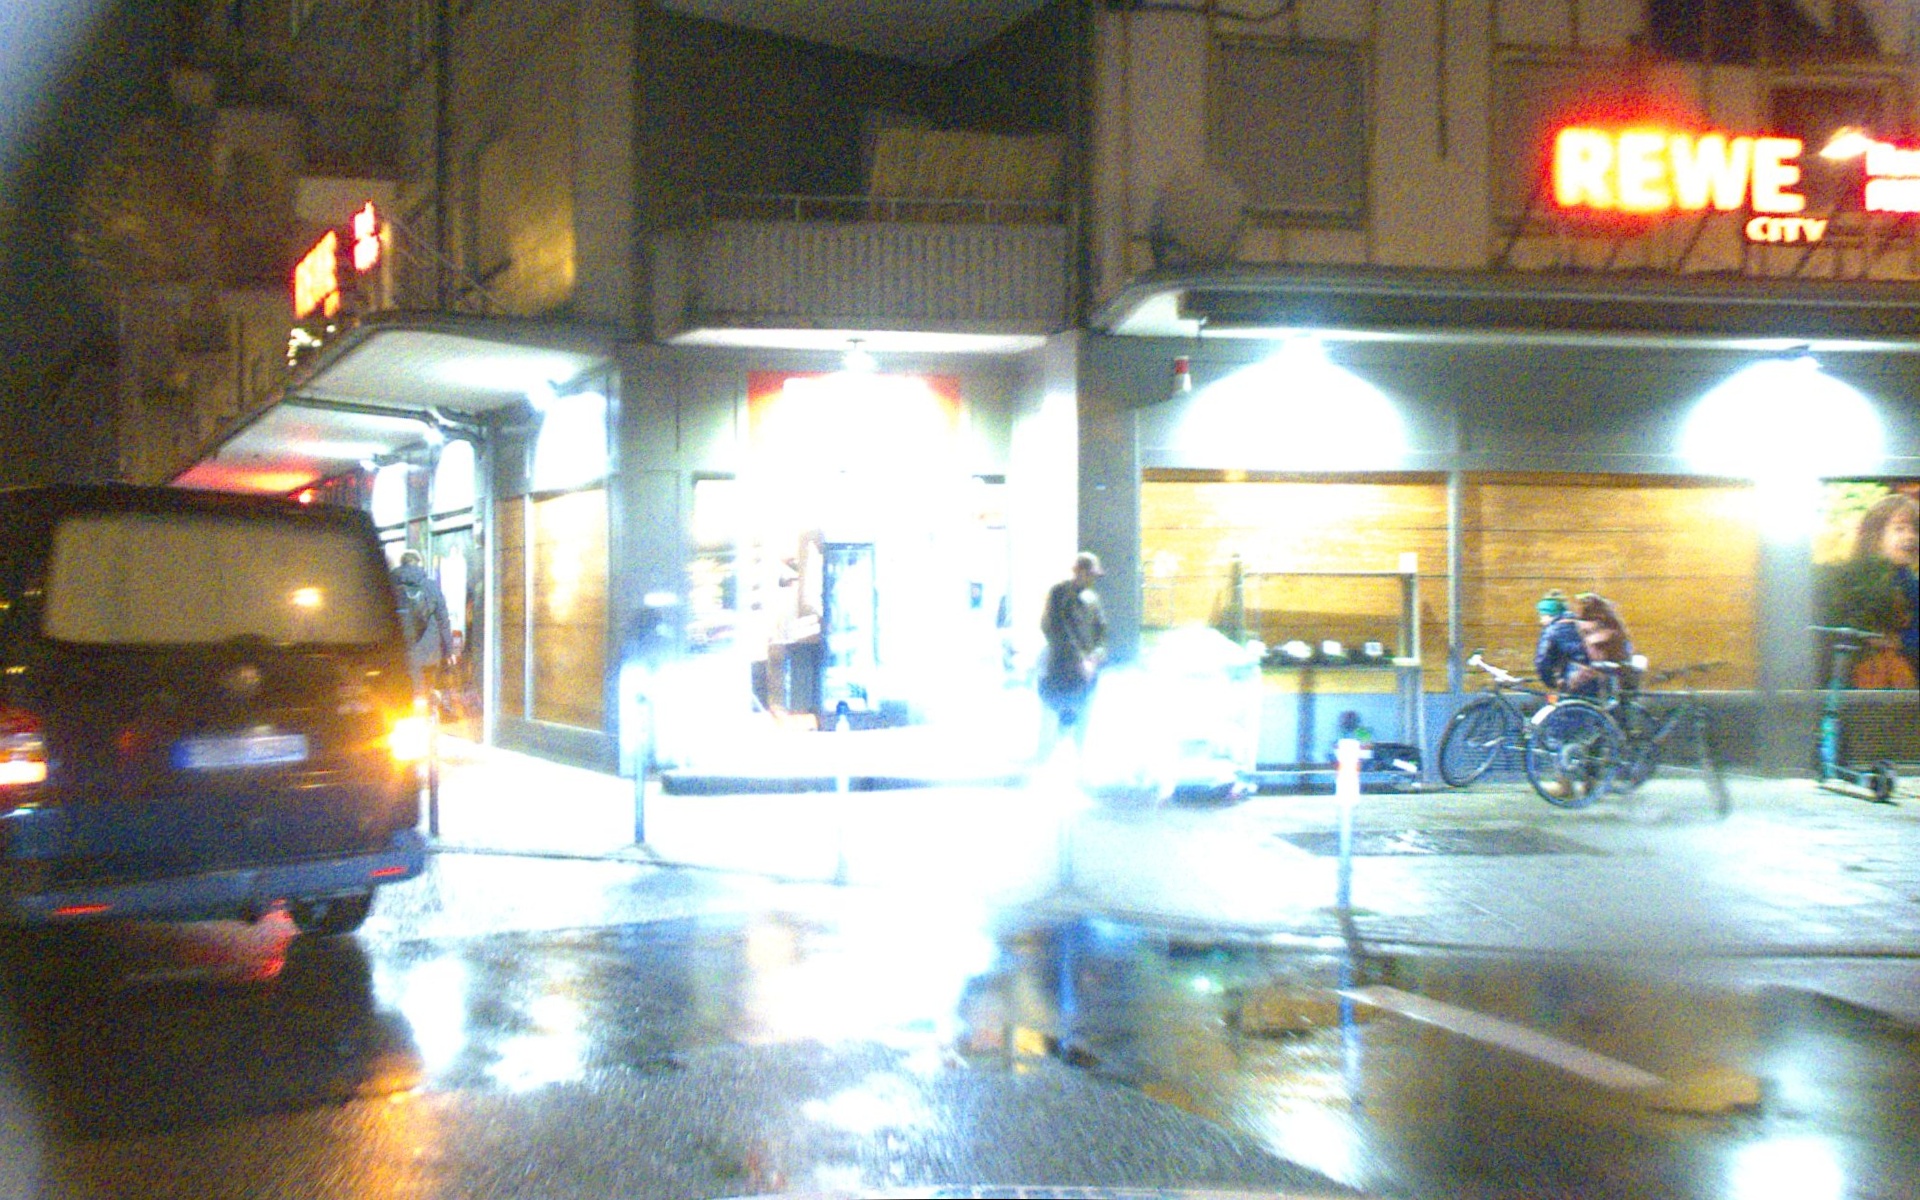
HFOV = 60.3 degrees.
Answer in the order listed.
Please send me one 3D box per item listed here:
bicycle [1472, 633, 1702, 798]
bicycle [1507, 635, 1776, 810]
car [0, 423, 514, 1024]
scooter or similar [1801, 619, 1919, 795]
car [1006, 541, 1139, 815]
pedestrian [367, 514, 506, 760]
[{"bbox_3d":[4.732,0.871,12.521,1.609,1.195,0.384,1,-3,-3],"label":"bicycle"},{"bbox_3d":[4.763,0.847,11.590,1.745,1.194,0.384,0,0,-3],"label":"bicycle"},{"bbox_3d":[-4.270,0.436,7.819,4.520,2.026,2.116,0,-1,43],"label":"car"},{"bbox_3d":[7.026,0.784,12.620,0.514,1.251,1.313,1,0,-1],"label":"scooter or similar"},{"bbox_3d":[0.787,0.535,11.826,0.856,1.873,0.964,1,0,-1],"label":"car"},{"bbox_3d":[-5.013,0.336,15.818,1.043,2.247,0.960,-1,0,-31],"label":"pedestrian"}]
